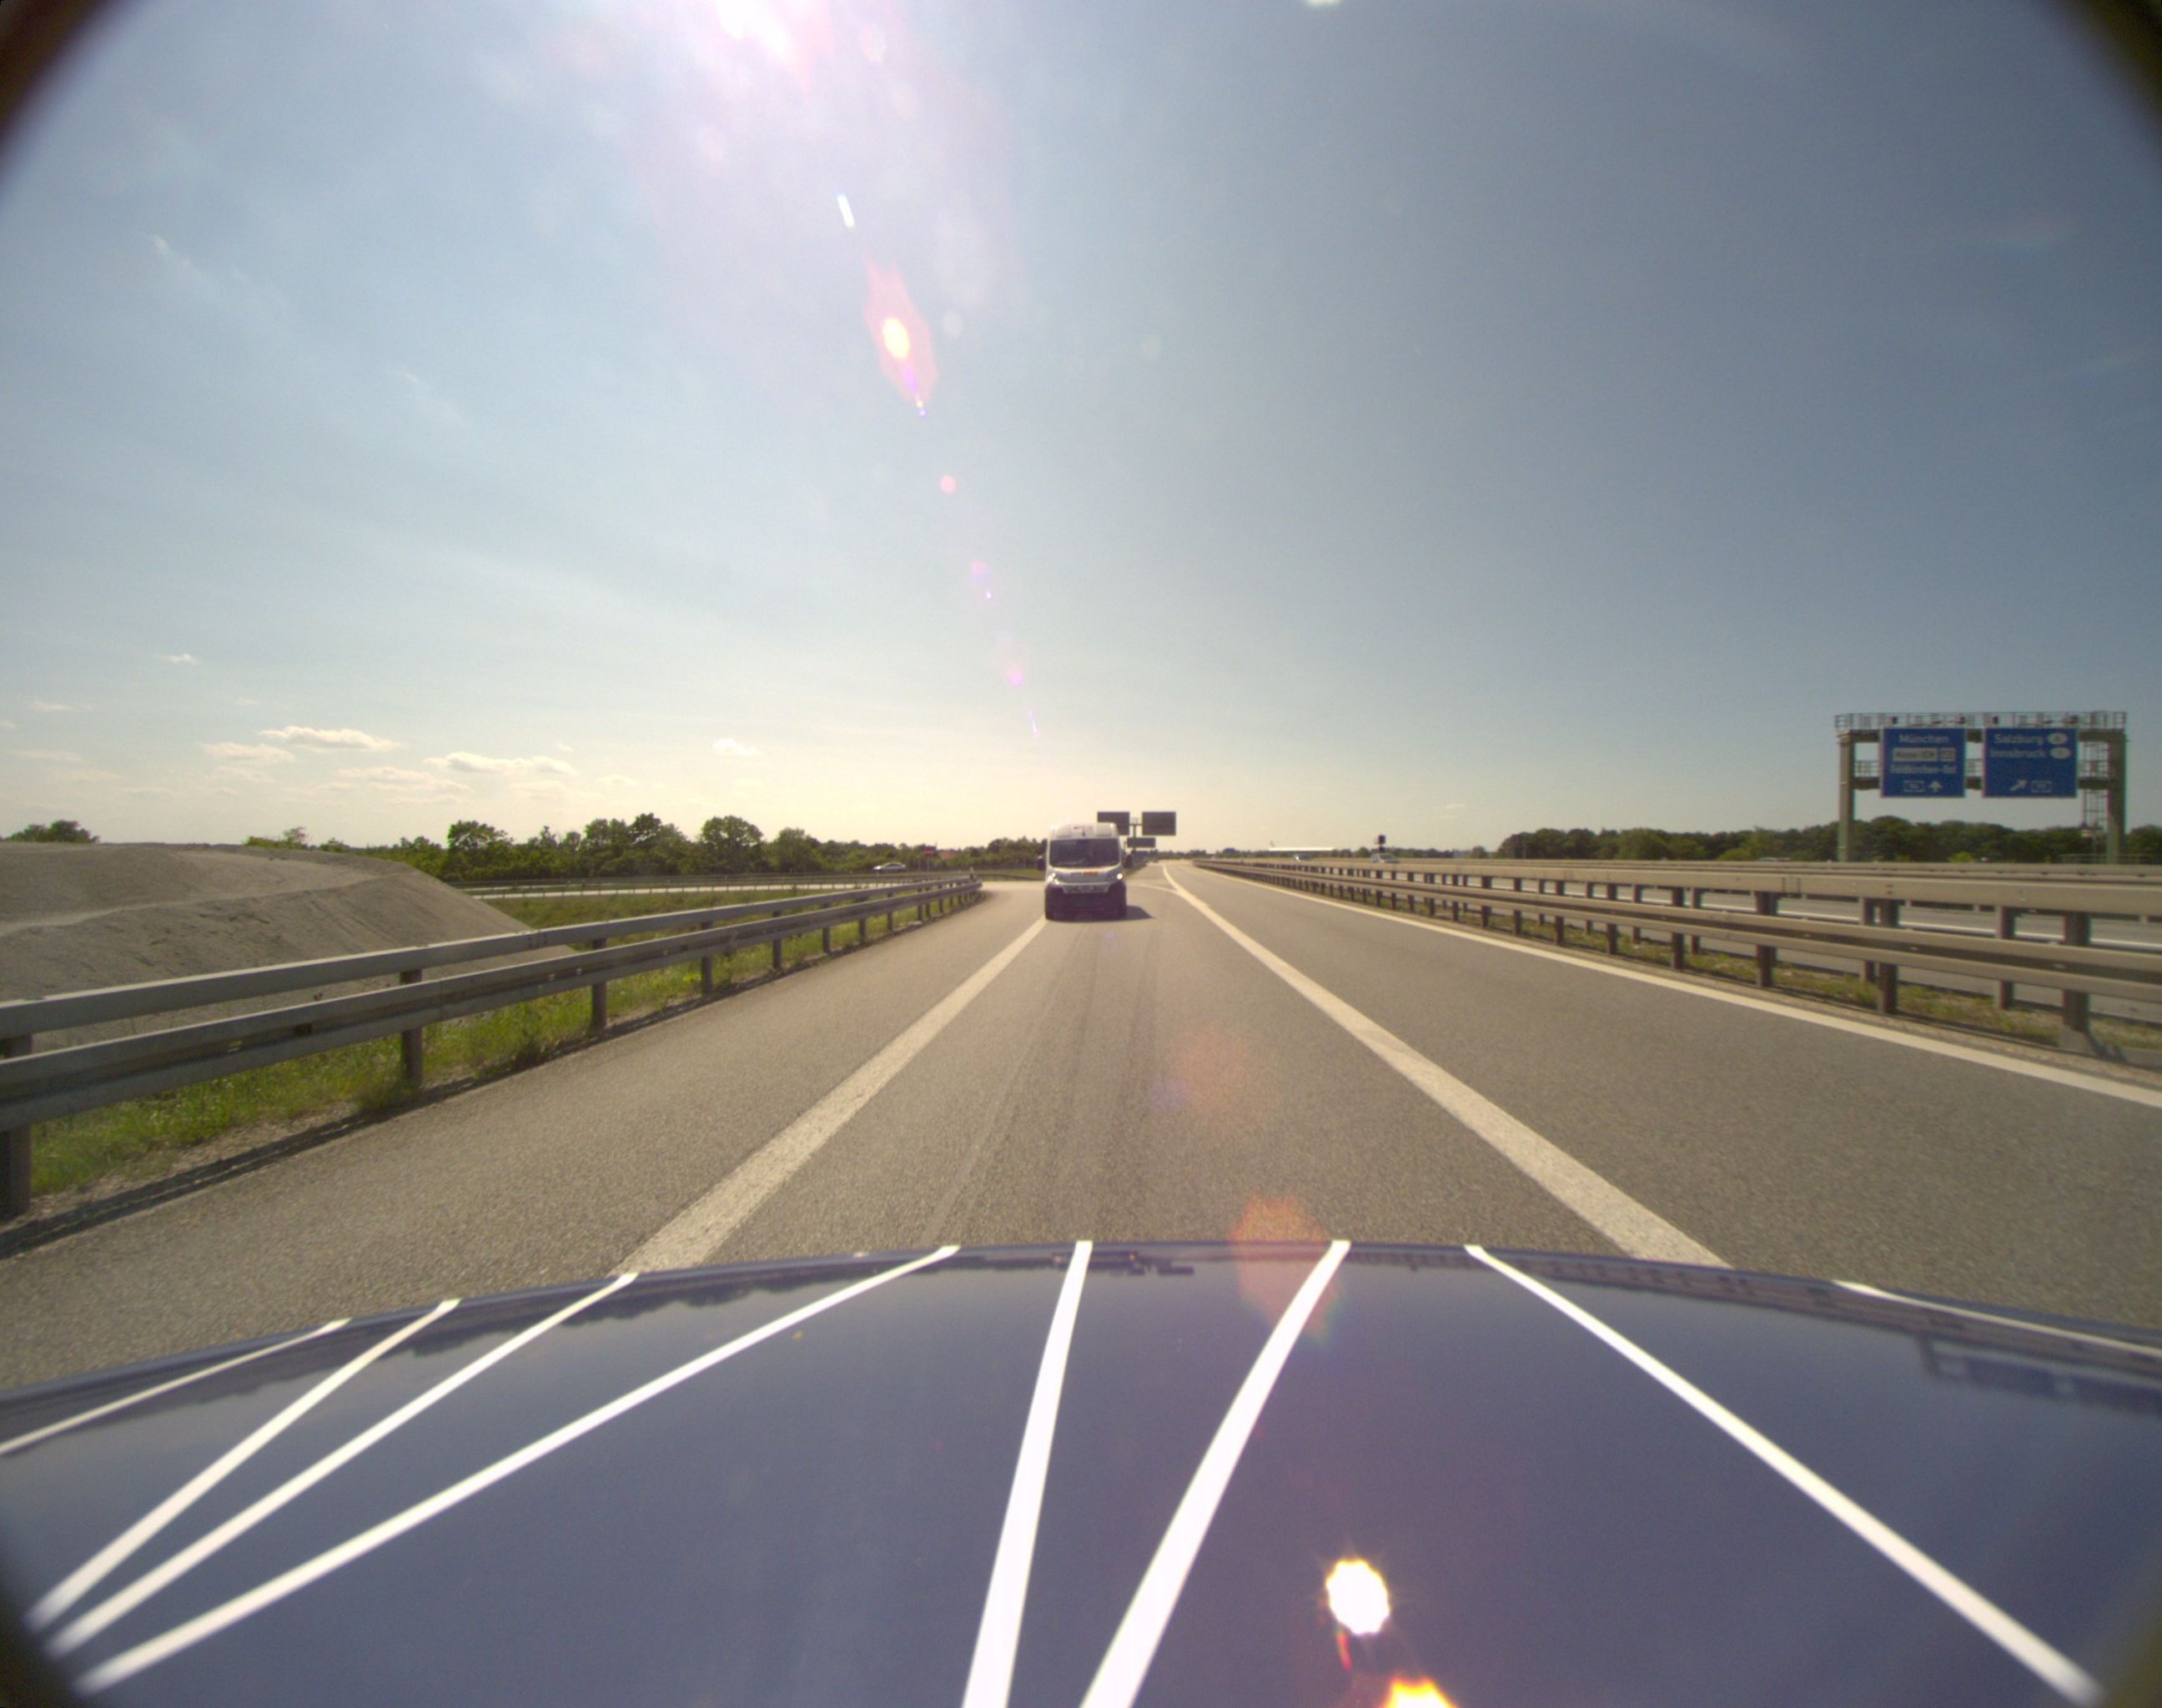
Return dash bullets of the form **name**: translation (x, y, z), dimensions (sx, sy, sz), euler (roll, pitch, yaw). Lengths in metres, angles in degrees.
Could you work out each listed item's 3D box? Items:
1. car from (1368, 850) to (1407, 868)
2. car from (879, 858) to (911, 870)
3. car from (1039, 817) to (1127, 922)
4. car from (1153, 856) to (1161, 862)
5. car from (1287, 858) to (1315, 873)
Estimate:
- **car**: translation (25.543, 0.383, 63.546), dimensions (1.766, 1.414, 4.217), euler (-1, 1, 3)
- **car**: translation (-27.492, 1.470, 112.396), dimensions (4.304, 1.499, 1.996), euler (-3, 1, -26)
- **car**: translation (0.226, 0.376, 21.262), dimensions (2.087, 2.509, 6.238), euler (0, 0, 3)
- **car**: translation (23.084, 1.531, 230.172), dimensions (1.999, 1.744, 3.999), euler (-1, 1, 0)
- **car**: translation (22.317, 1.130, 77.110), dimensions (1.834, 1.424, 4.217), euler (-1, 1, 3)
